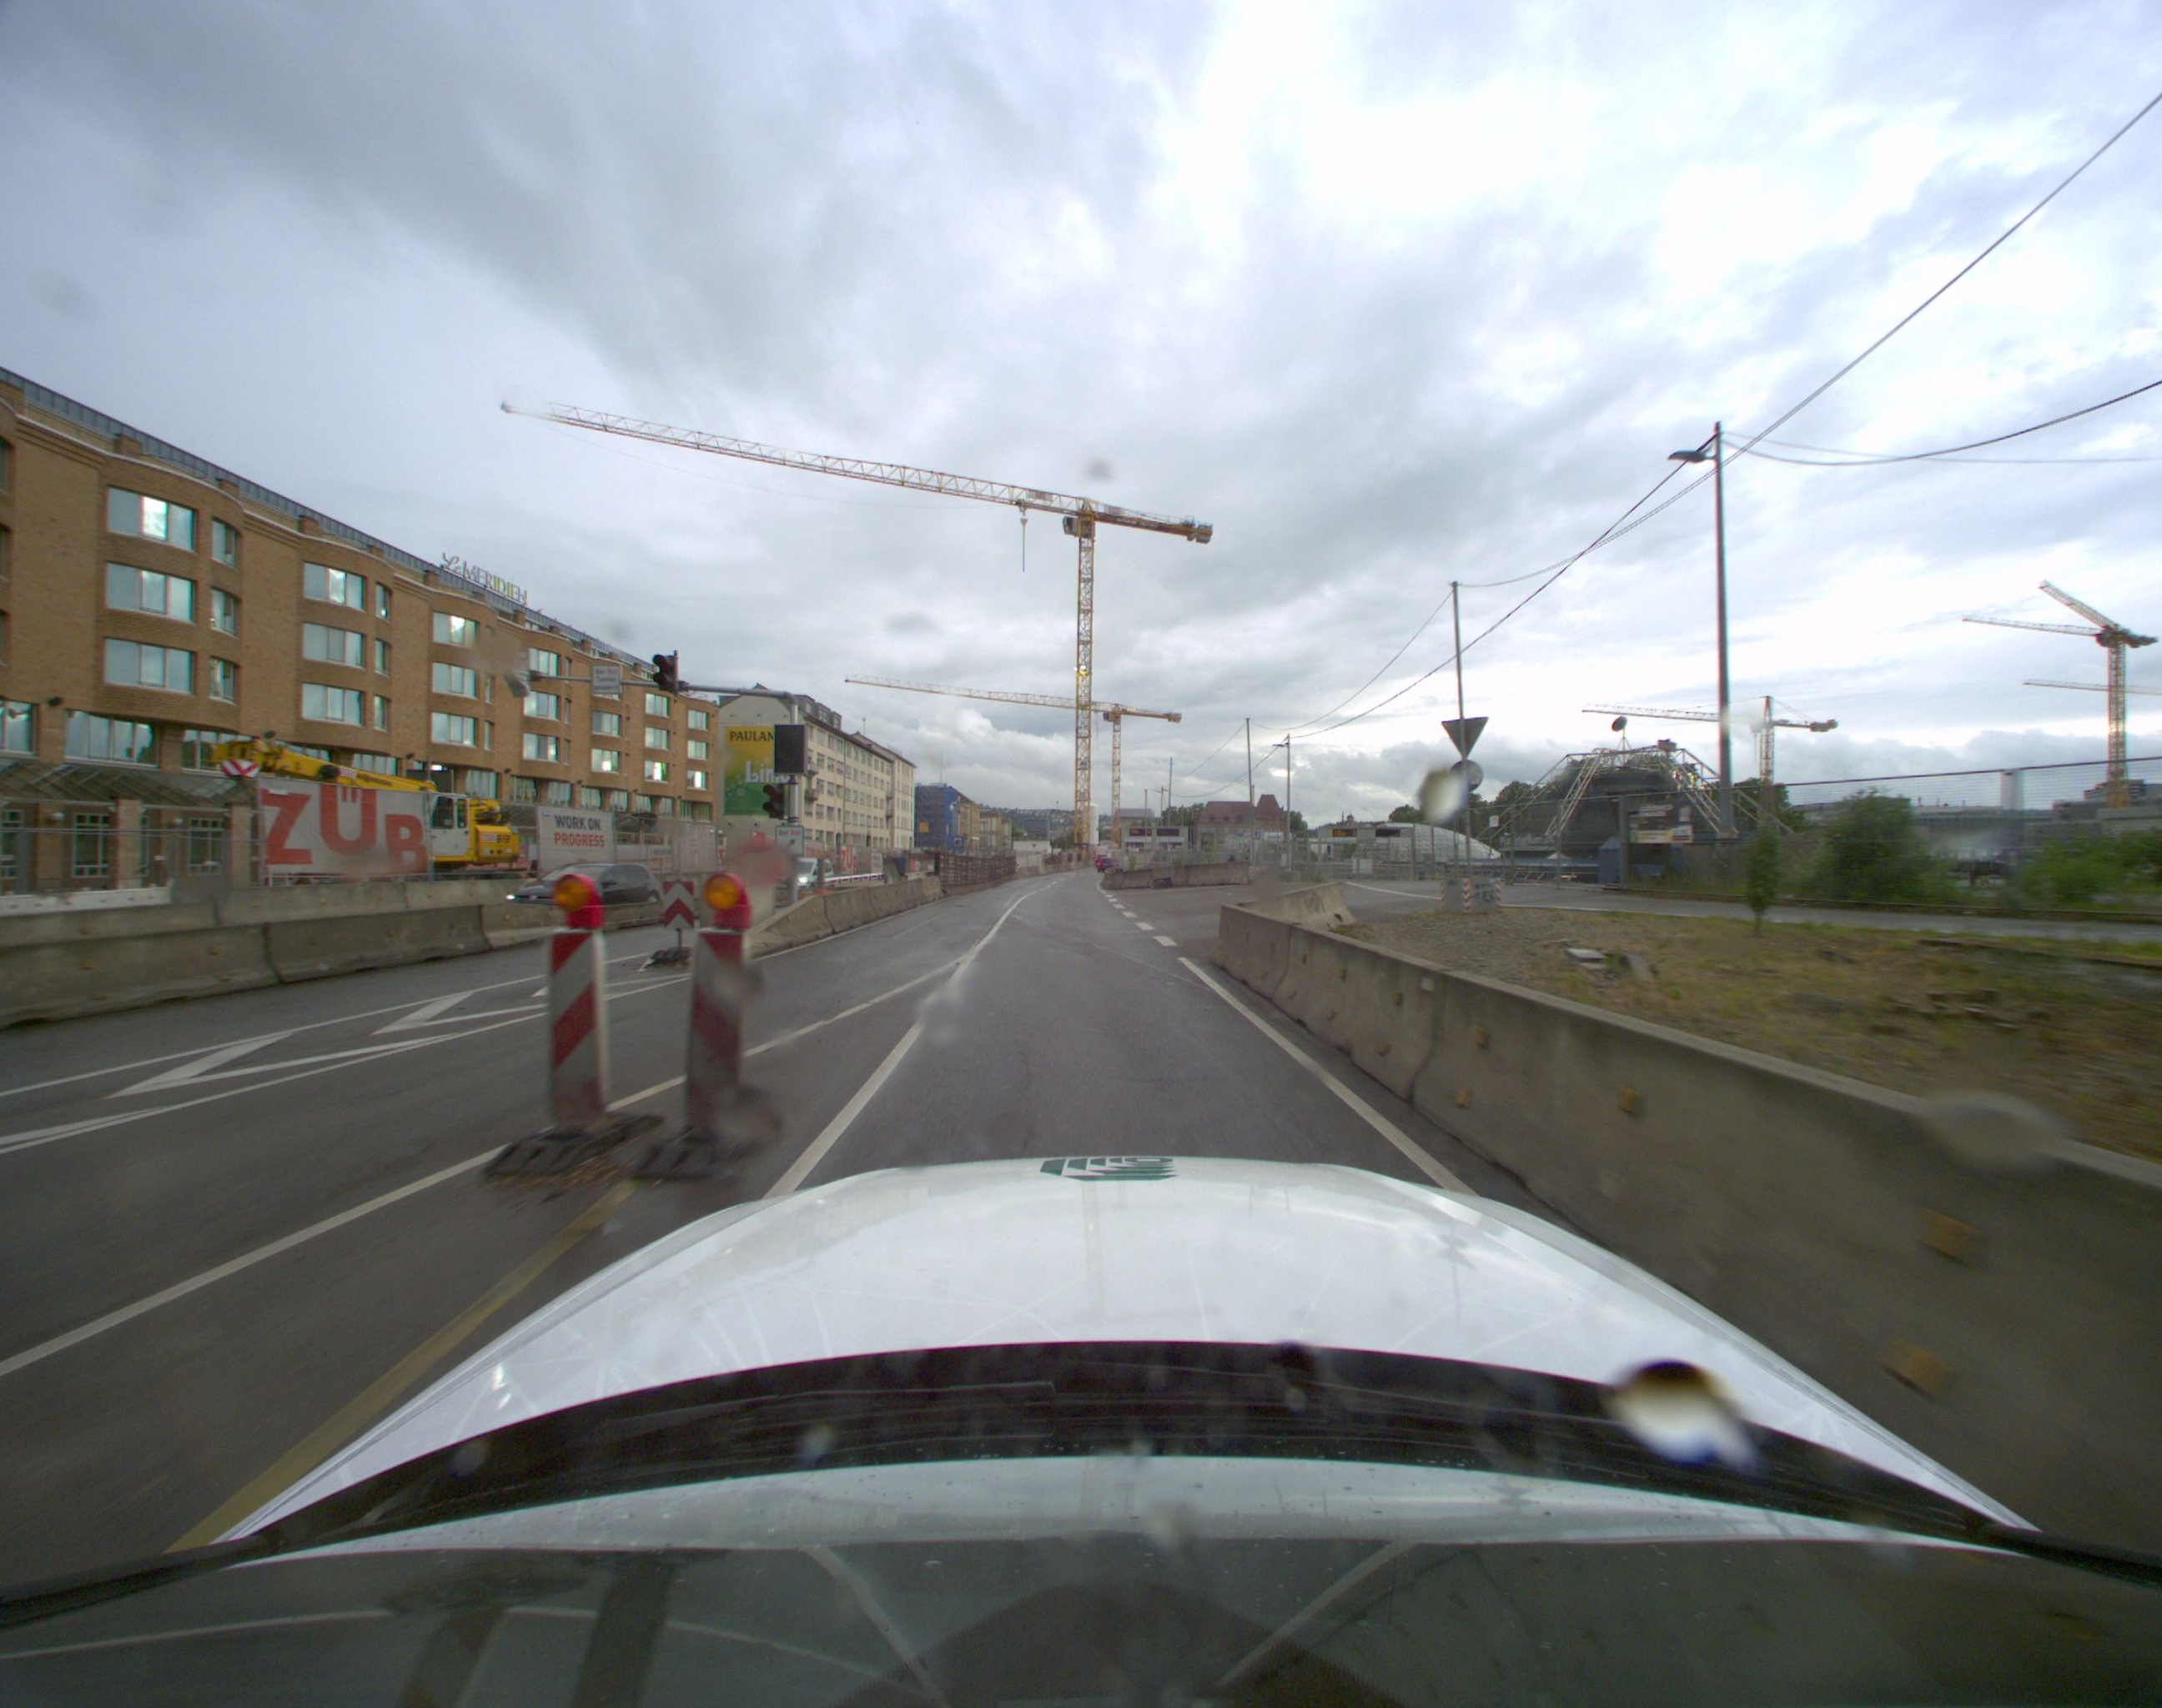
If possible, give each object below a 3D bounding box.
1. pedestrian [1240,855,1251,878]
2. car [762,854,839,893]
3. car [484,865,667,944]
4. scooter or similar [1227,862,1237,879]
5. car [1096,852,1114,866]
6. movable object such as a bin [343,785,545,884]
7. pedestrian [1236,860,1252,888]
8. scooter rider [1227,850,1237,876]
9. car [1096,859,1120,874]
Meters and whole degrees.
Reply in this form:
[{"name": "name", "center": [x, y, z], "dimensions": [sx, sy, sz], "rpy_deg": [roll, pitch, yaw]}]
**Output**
[{"name": "pedestrian", "center": [12.995, 0.972, 64.201], "dimensions": [0.687, 1.778, 1.023], "rpy_deg": [-1, -1, 2]}, {"name": "car", "center": [-12.231, 0.798, 35.822], "dimensions": [1.741, 1.549, 4.523], "rpy_deg": [0, 0, 0]}, {"name": "car", "center": [-12.235, 1.146, 20.068], "dimensions": [1.798, 1.623, 4.037], "rpy_deg": [0, 1, 3]}, {"name": "scooter or similar", "center": [10.624, 1.153, 57.270], "dimensions": [0.486, 1.179, 1.101], "rpy_deg": [-1, 0, 20]}, {"name": "car", "center": [2.941, 0.599, 100.161], "dimensions": [1.853, 1.660, 4.664], "rpy_deg": [1, 0, 6]}, {"name": "movable object such as a bin", "center": [-16.773, -0.482, 21.784], "dimensions": [2.022, 2.277, 4.289], "rpy_deg": [-3, 0, -2]}, {"name": "pedestrian", "center": [10.475, 1.294, 52.472], "dimensions": [0.691, 1.778, 0.811], "rpy_deg": [0, -1, -16]}, {"name": "scooter rider", "center": [10.596, 0.627, 57.202], "dimensions": [0.516, 1.755, 0.703], "rpy_deg": [-1, 0, 20]}, {"name": "car", "center": [2.682, 1.192, 79.792], "dimensions": [1.853, 1.433, 4.665], "rpy_deg": [0, 0, 7]}]
